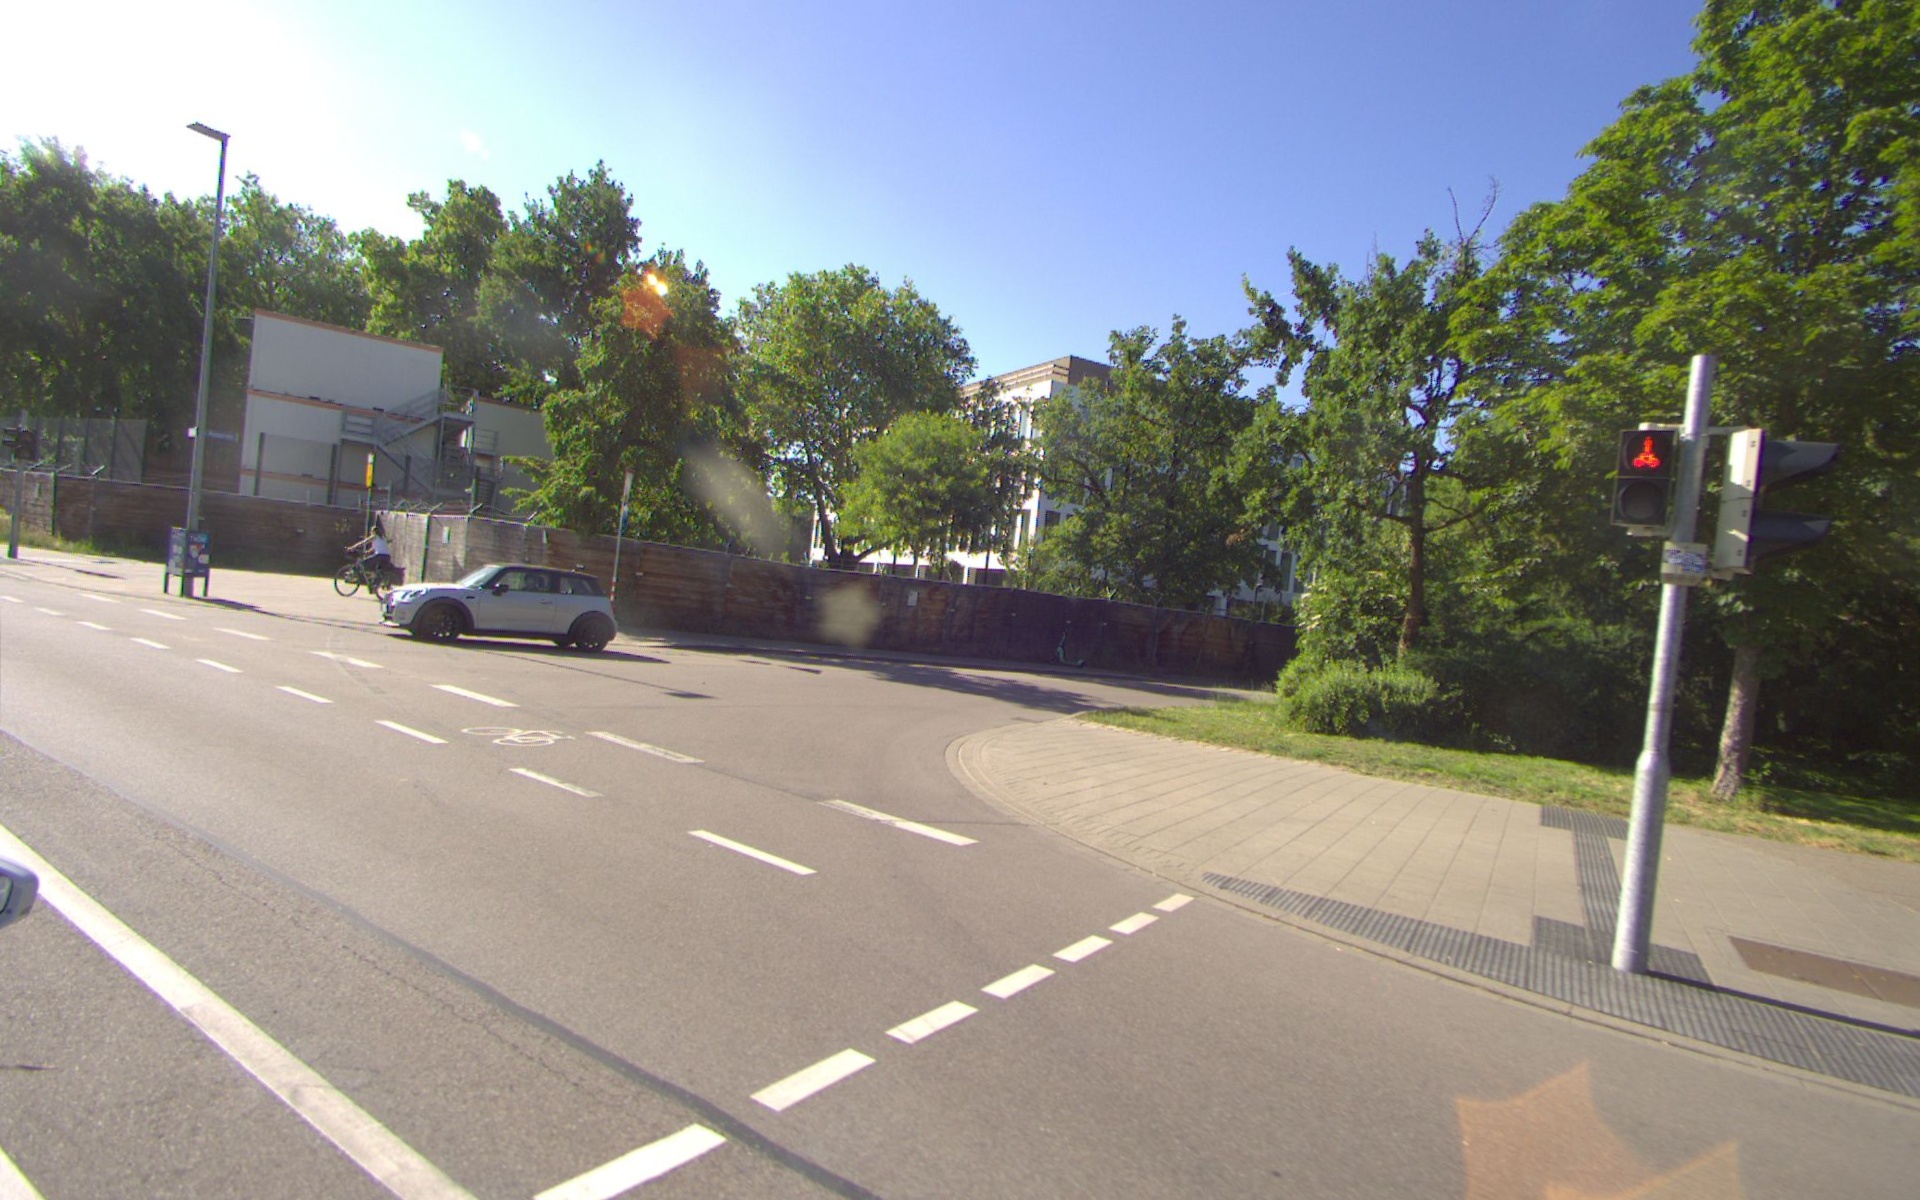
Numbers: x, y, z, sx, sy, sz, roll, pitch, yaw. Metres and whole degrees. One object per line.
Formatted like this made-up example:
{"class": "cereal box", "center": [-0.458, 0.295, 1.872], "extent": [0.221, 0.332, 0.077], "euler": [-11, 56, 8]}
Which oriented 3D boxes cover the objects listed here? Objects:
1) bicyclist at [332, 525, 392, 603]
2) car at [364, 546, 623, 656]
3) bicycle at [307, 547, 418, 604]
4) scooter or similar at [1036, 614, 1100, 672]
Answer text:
{"class": "bicyclist", "center": [-13.852, -0.822, 23.328], "extent": [0.837, 1.695, 0.742], "euler": [5, 1, -6]}
{"class": "car", "center": [-8.134, 0.047, 17.693], "extent": [3.688, 1.453, 1.751], "euler": [8, -1, -43]}
{"class": "bicycle", "center": [-13.860, -0.569, 23.374], "extent": [2.086, 1.127, 0.603], "euler": [5, 2, -6]}
{"class": "scooter or similar", "center": [3.570, 1.420, 33.186], "extent": [2.056, 1.704, 0.571], "euler": [7, 0, -33]}
